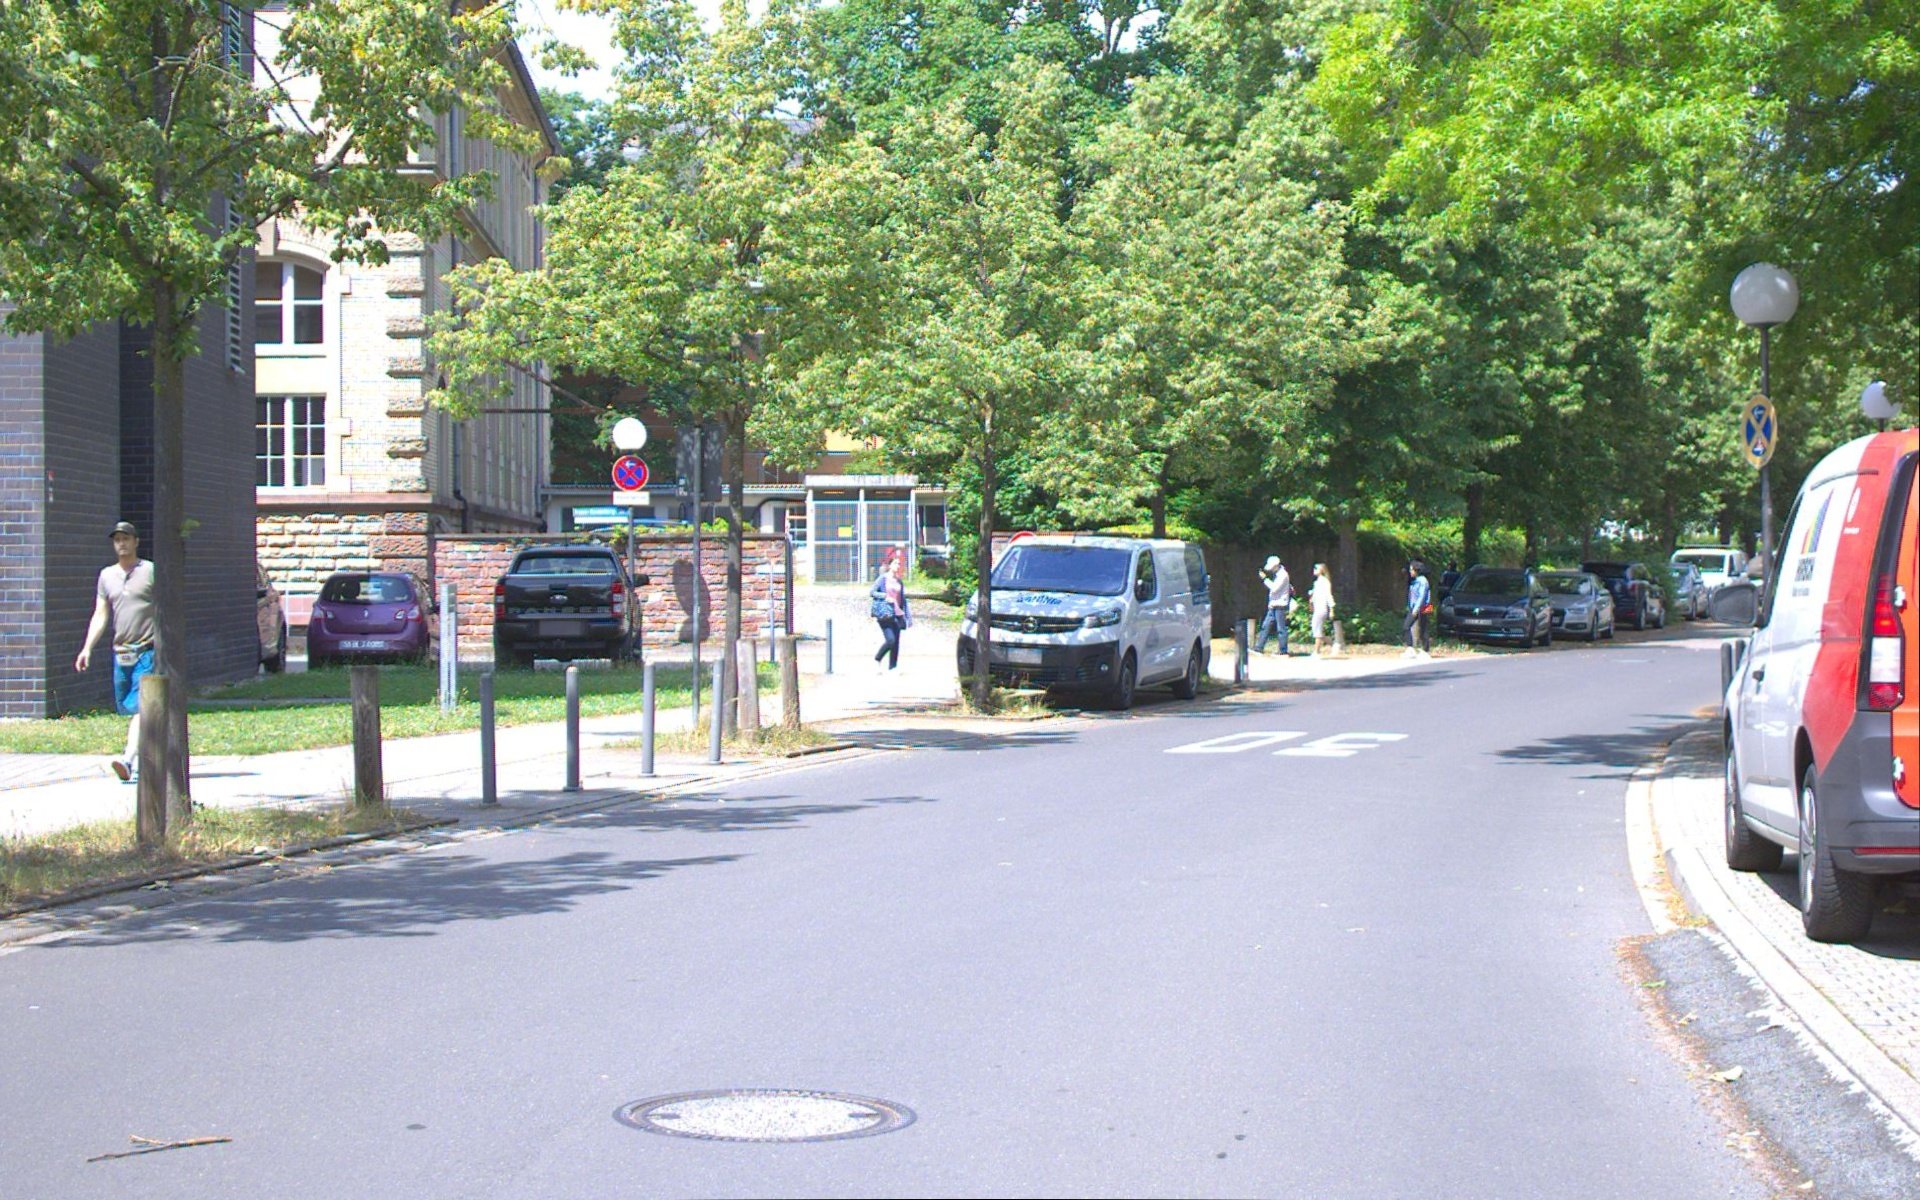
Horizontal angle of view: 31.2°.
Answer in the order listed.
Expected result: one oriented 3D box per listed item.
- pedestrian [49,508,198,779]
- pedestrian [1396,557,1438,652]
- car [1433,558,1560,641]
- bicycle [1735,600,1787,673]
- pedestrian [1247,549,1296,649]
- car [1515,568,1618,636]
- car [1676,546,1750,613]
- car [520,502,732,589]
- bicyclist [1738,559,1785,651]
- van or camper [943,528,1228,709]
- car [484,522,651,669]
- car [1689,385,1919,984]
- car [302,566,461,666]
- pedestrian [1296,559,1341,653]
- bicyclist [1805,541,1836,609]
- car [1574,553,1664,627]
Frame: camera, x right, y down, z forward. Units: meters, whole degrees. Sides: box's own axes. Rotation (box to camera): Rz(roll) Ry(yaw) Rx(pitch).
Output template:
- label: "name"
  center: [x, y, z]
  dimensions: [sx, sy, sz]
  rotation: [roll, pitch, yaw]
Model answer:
- label: "pedestrian"
  center: [-5.552, 0.278, 22.845]
  dimensions: [0.584, 1.758, 0.910]
  rotation: [0, 1, 15]
- label: "pedestrian"
  center: [7.610, 0.067, 57.297]
  dimensions: [0.494, 1.580, 0.494]
  rotation: [0, 1, -31]
- label: "car"
  center: [10.181, -0.038, 65.026]
  dimensions: [1.761, 1.516, 4.108]
  rotation: [0, 1, 18]
- label: "bicycle"
  center: [11.335, 0.502, 48.628]
  dimensions: [0.614, 0.997, 1.422]
  rotation: [0, 1, 18]
- label: "pedestrian"
  center: [5.148, -0.021, 56.836]
  dimensions: [0.626, 1.657, 0.603]
  rotation: [0, 1, -19]
- label: "car"
  center: [12.756, 0.019, 72.212]
  dimensions: [1.617, 1.383, 3.997]
  rotation: [0, 1, 18]
- label: "car"
  center: [20.785, -0.569, 94.807]
  dimensions: [1.617, 1.809, 3.997]
  rotation: [0, 1, 18]
- label: "car"
  center: [-7.170, -1.161, 73.784]
  dimensions: [4.156, 1.817, 2.001]
  rotation: [0, 1, -20]
- label: "bicyclist"
  center: [11.355, 0.067, 48.687]
  dimensions: [0.610, 1.291, 0.610]
  rotation: [0, 1, 18]
- label: "van or camper"
  center: [1.548, 0.158, 39.794]
  dimensions: [1.955, 1.916, 5.416]
  rotation: [1, 1, 17]
- label: "car"
  center: [-5.380, -0.091, 47.699]
  dimensions: [2.174, 1.919, 5.187]
  rotation: [0, 1, -5]
- label: "car"
  center: [3.972, 0.225, 13.157]
  dimensions: [1.849, 1.885, 4.889]
  rotation: [-1, 1, 7]
- label: "car"
  center: [-7.957, 0.191, 47.539]
  dimensions: [1.817, 1.319, 3.768]
  rotation: [0, 1, -4]
- label: "pedestrian"
  center: [5.806, 0.096, 55.641]
  dimensions: [0.583, 1.522, 0.494]
  rotation: [0, 0, -16]
- label: "bicyclist"
  center: [16.236, -0.473, 64.878]
  dimensions: [0.523, 1.291, 0.610]
  rotation: [0, 1, 18]
- label: "car"
  center: [15.417, -0.253, 80.337]
  dimensions: [1.617, 1.673, 3.997]
  rotation: [0, 1, 18]
